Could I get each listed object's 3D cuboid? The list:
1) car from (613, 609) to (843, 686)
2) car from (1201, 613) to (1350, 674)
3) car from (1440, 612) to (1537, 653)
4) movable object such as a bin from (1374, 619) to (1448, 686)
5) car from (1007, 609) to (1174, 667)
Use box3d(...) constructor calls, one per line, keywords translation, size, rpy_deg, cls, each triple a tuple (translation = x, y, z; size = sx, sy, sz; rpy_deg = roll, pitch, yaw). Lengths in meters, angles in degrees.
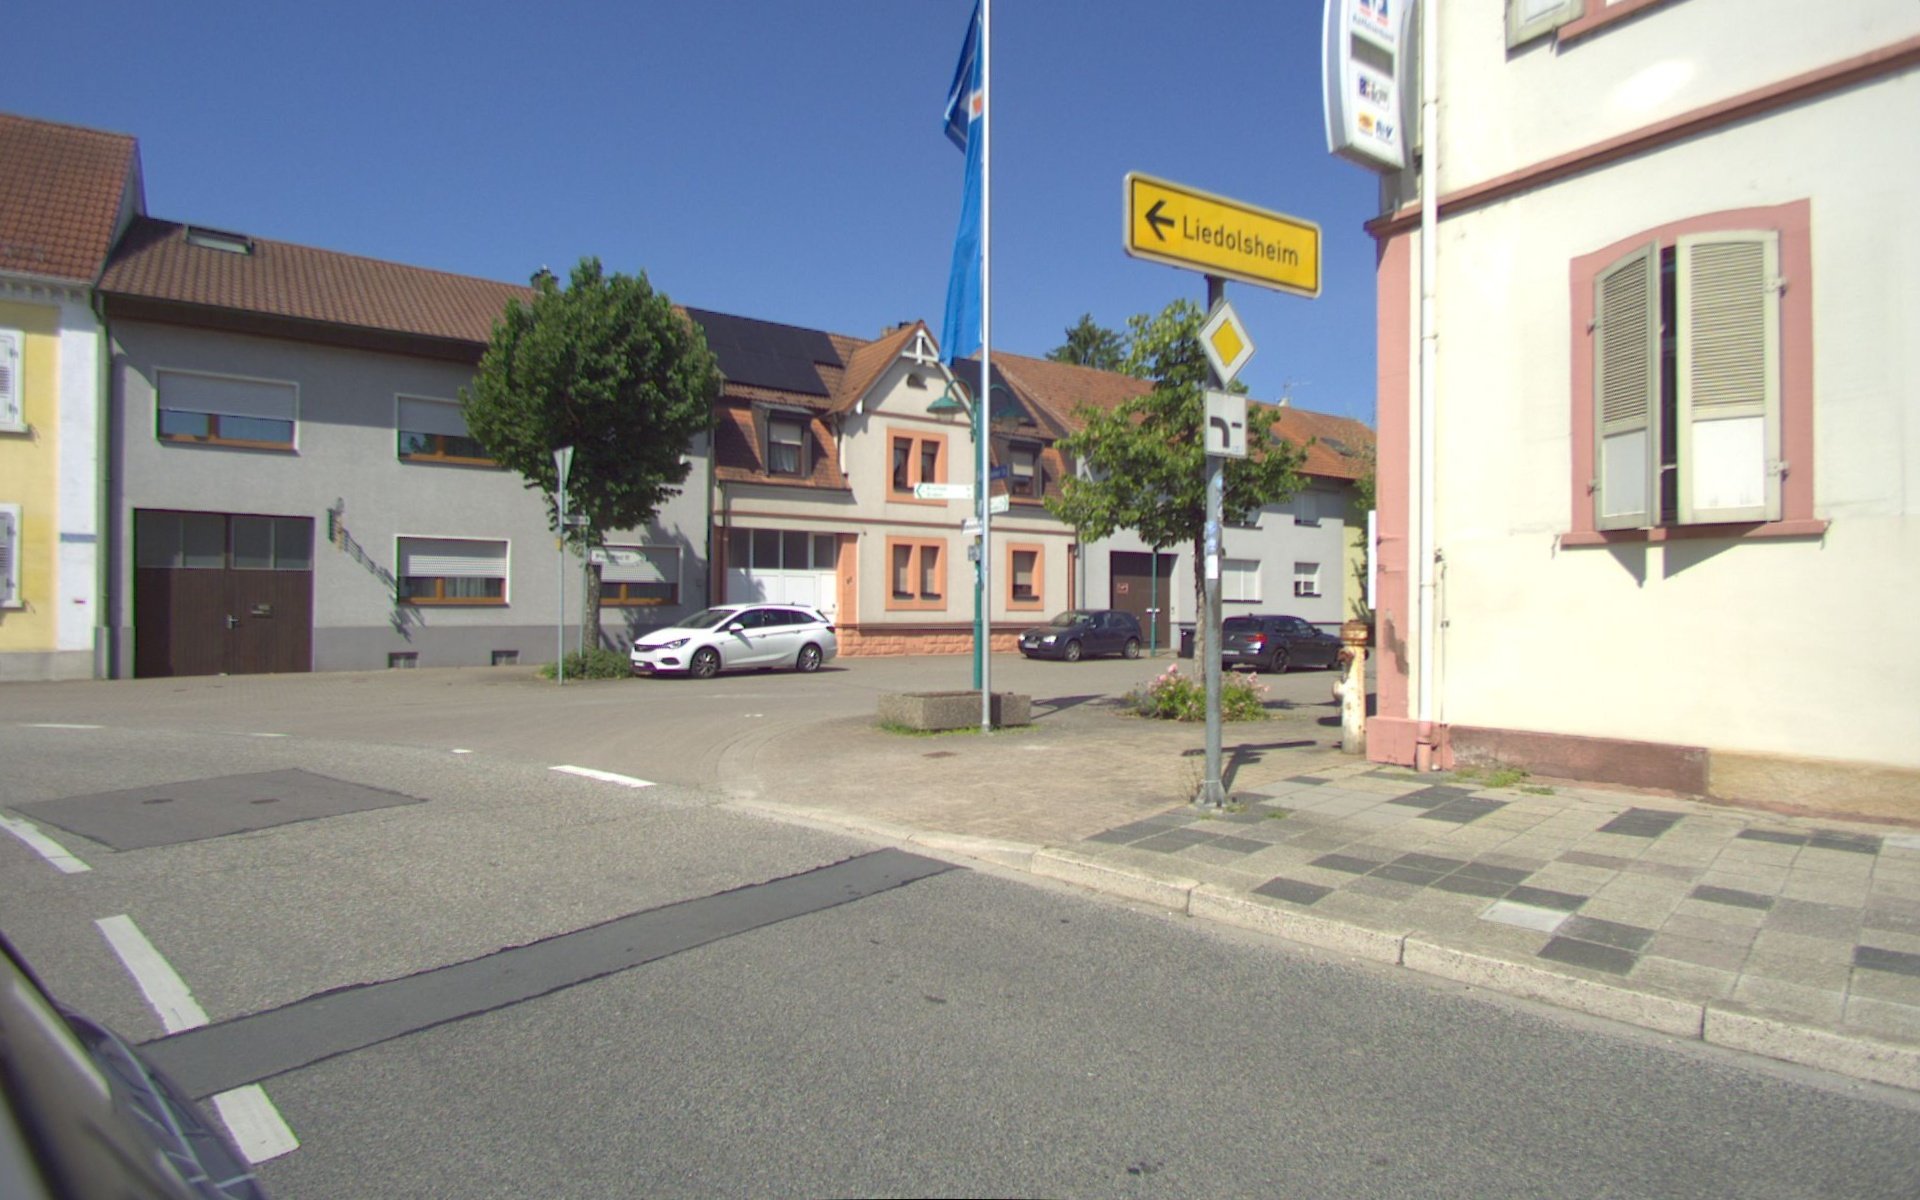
box3d(translation=(-4.739, 0.917, 21.157), size=(1.855, 1.451, 4.450), rpy_deg=(-1, -1, 42), cls="car")
box3d(translation=(7.937, 1.100, 25.269), size=(4.204, 1.387, 1.743), rpy_deg=(3, -4, -43), cls="car")
box3d(translation=(21.283, 1.282, 40.726), size=(3.935, 1.586, 2.004), rpy_deg=(1, -1, -38), cls="car")
box3d(translation=(9.489, 1.086, 21.319), size=(0.776, 1.348, 1.195), rpy_deg=(0, -1, -32), cls="movable object such as a bin")
box3d(translation=(3.878, 1.036, 29.441), size=(5.132, 1.451, 1.993), rpy_deg=(1, 1, -43), cls="car")
